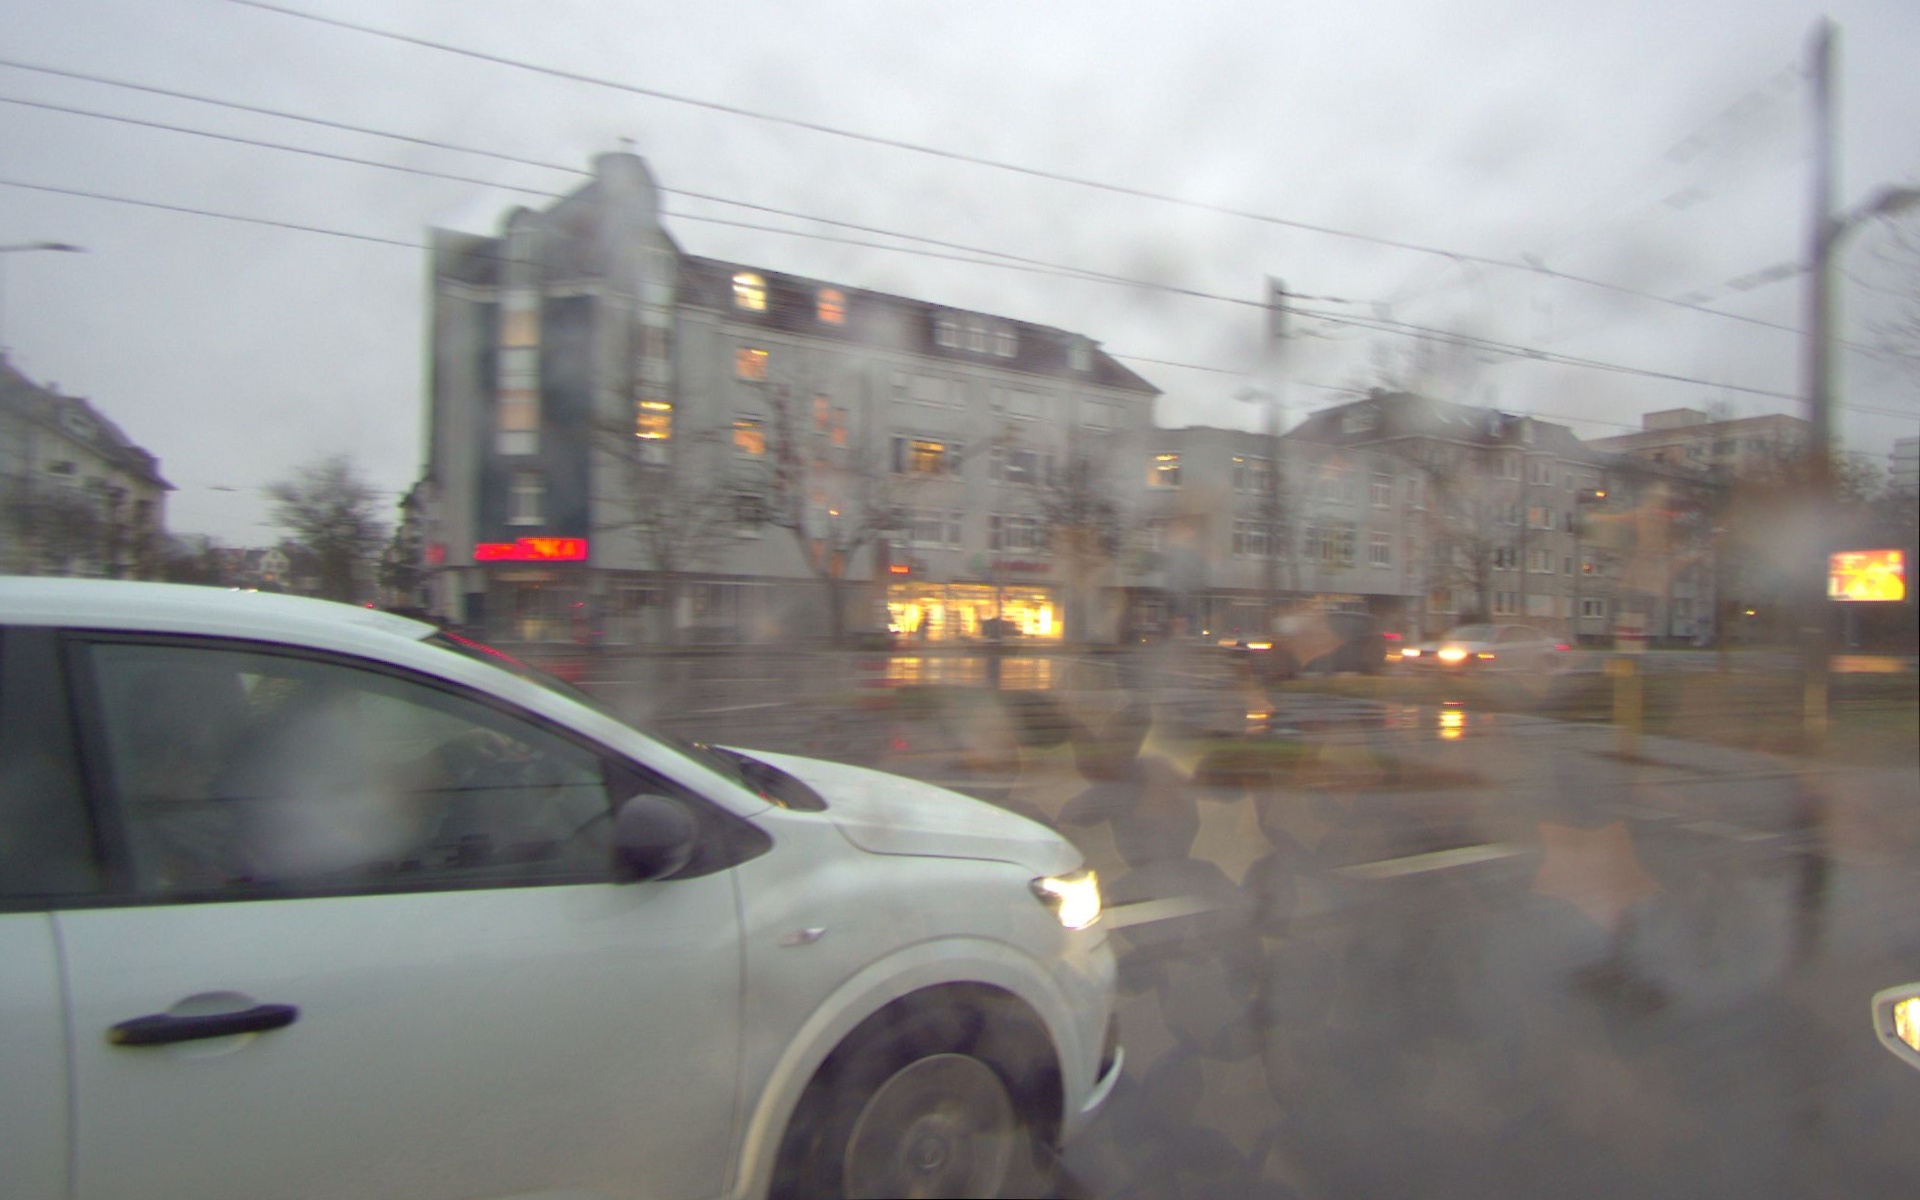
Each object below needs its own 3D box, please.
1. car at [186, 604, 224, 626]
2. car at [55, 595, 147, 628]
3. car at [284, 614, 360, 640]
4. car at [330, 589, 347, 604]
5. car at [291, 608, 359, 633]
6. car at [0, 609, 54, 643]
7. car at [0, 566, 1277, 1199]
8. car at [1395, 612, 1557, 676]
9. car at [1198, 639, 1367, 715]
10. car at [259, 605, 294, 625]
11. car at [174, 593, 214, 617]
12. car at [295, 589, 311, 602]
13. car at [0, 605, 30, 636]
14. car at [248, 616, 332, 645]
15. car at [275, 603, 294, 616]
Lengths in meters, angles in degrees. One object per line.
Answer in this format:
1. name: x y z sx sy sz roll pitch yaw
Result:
1. car: -52.666 1.058 70.088 1.470 1.379 3.414 3 0 -27
2. car: -51.627 0.710 60.466 3.955 1.824 1.562 3 0 -31
3. car: -36.224 1.537 57.124 3.576 1.360 1.588 3 0 -31
4. car: -80.072 -0.434 129.476 1.490 1.736 3.587 3 0 -27
5. car: -38.751 1.259 61.390 3.449 1.308 1.588 3 0 -31
6. car: -46.688 1.217 48.848 3.576 1.542 1.666 3 0 -31
7. car: -1.339 0.709 2.314 3.953 1.485 1.700 3 0 -30
8. car: 13.929 1.208 27.017 4.880 1.549 1.579 3 0 -32
9. car: 7.951 1.874 24.677 3.957 1.628 1.794 3 0 -32
10. car: -52.640 1.148 77.387 1.663 1.365 3.512 3 0 -25
11. car: -64.412 0.430 84.497 1.976 1.855 3.834 3 0 -28
12. car: -92.524 -0.651 141.396 1.742 1.621 3.873 3 0 -34
13. car: -44.001 0.883 44.804 3.415 1.315 1.575 3 0 -31
14. car: -35.600 1.643 53.471 3.576 1.360 1.588 3 0 -31
15. car: -66.542 0.912 98.948 1.153 1.161 2.452 3 0 -27
